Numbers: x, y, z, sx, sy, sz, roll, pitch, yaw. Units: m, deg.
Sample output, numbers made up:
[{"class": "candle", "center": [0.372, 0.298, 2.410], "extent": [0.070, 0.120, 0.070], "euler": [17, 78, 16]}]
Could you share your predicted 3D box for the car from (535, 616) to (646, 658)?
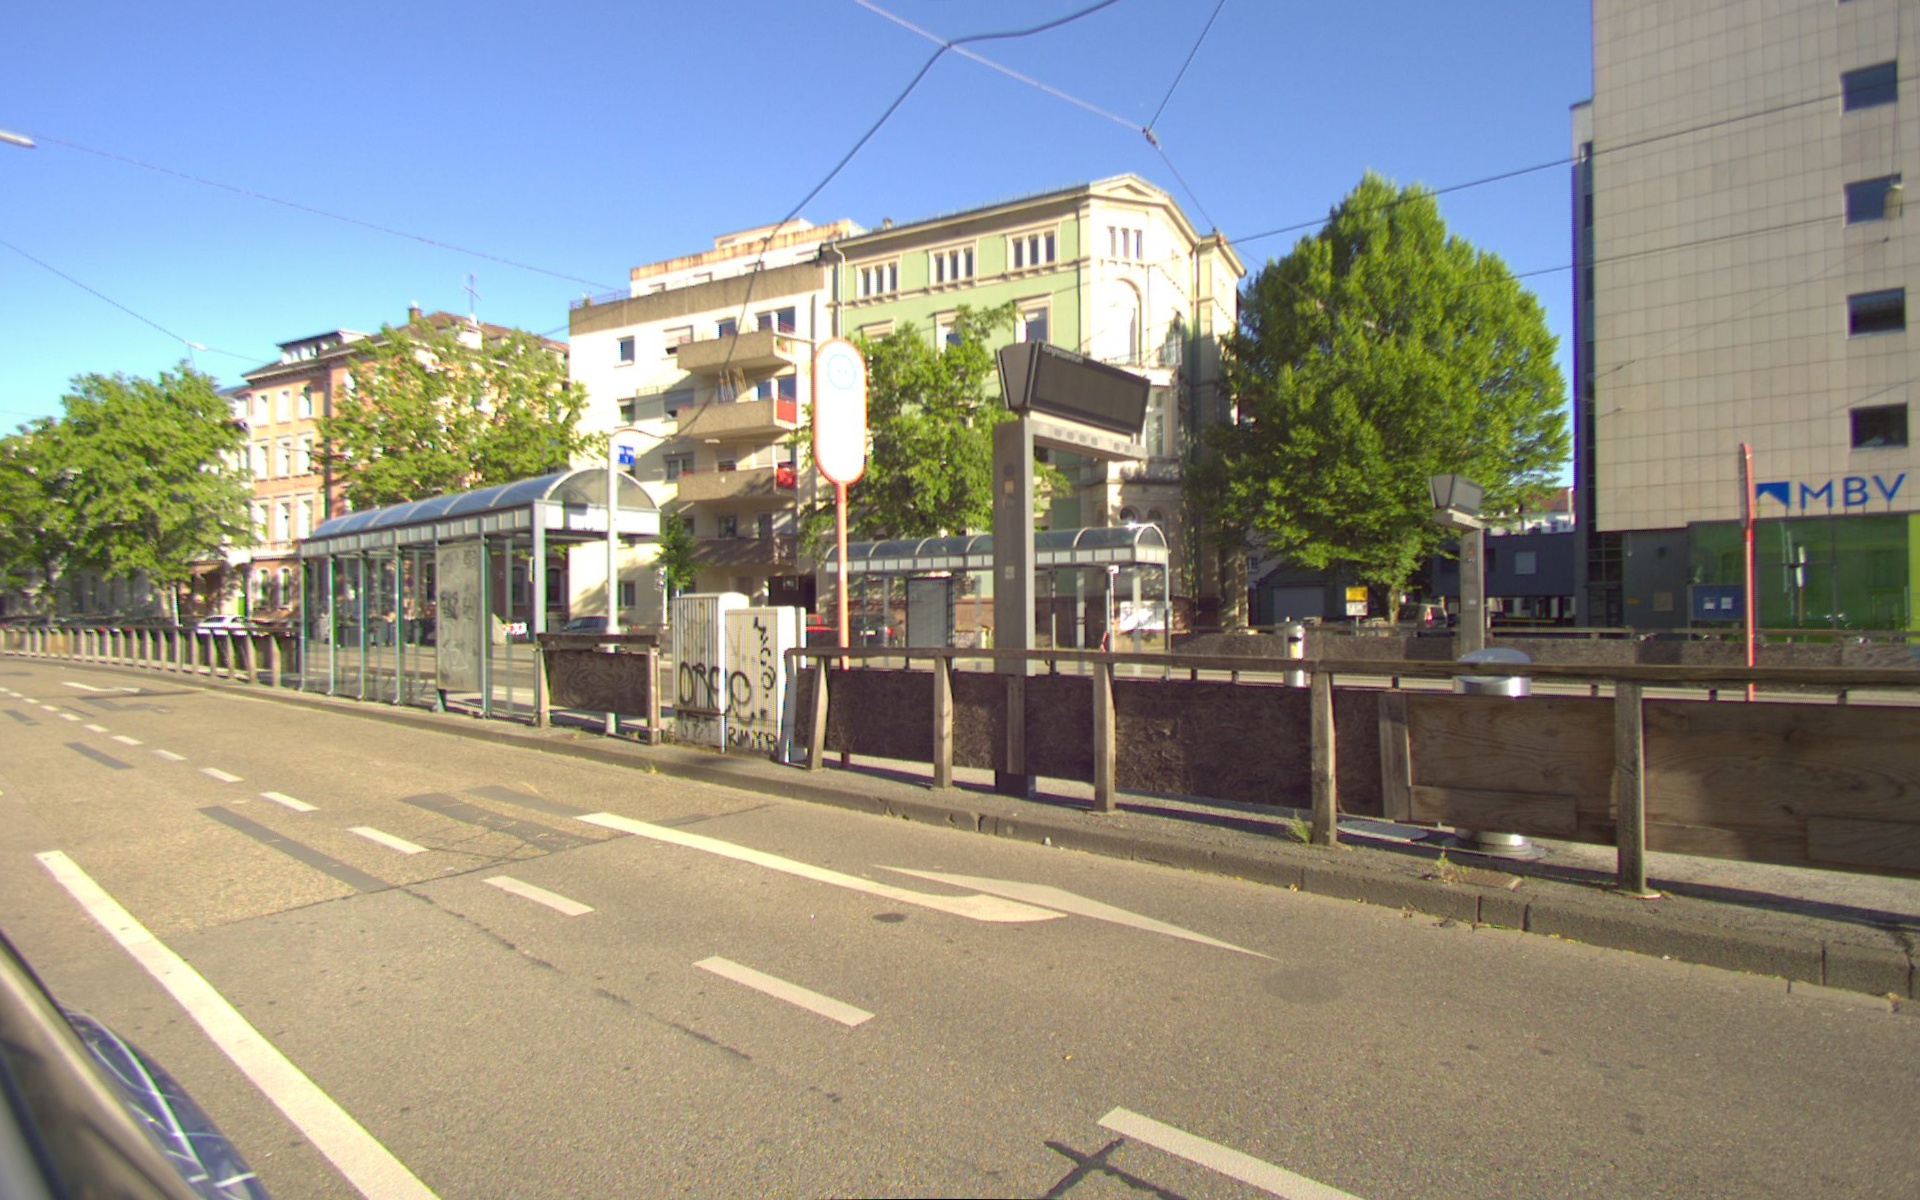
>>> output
[{"class": "car", "center": [-14.118, 1.407, 38.623], "extent": [3.987, 1.542, 1.978], "euler": [-1, -3, 32]}]

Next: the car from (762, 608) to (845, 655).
[{"class": "car", "center": [-7.061, 1.405, 45.934], "extent": [1.791, 2.029, 3.963], "euler": [-1, -1, 27]}]

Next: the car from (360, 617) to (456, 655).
[{"class": "car", "center": [-23.757, 1.528, 43.534], "extent": [3.987, 1.541, 1.978], "euler": [-1, -2, 32]}]

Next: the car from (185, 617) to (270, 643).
[{"class": "car", "center": [-39.215, 1.586, 54.241], "extent": [1.565, 1.360, 3.631], "euler": [0, -1, 11]}]
